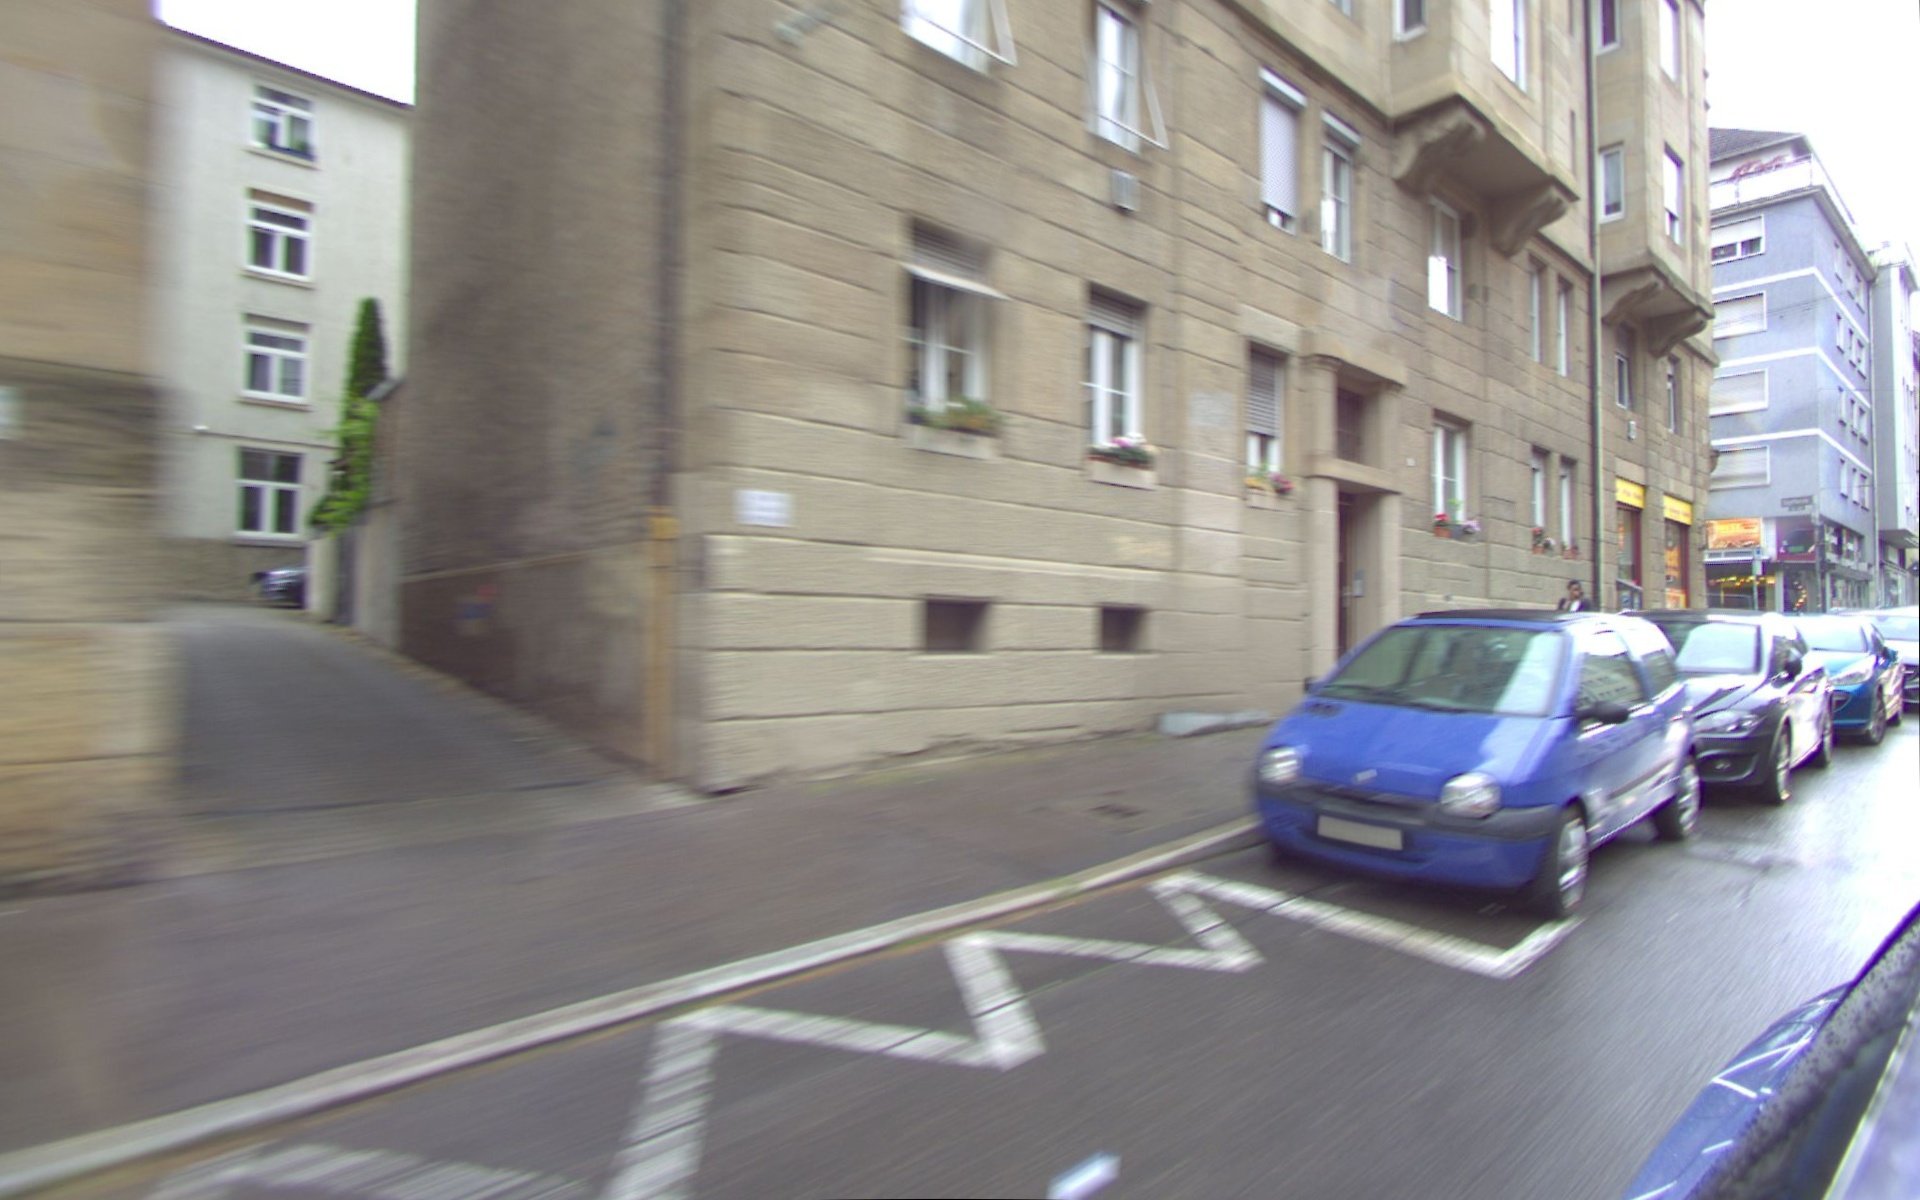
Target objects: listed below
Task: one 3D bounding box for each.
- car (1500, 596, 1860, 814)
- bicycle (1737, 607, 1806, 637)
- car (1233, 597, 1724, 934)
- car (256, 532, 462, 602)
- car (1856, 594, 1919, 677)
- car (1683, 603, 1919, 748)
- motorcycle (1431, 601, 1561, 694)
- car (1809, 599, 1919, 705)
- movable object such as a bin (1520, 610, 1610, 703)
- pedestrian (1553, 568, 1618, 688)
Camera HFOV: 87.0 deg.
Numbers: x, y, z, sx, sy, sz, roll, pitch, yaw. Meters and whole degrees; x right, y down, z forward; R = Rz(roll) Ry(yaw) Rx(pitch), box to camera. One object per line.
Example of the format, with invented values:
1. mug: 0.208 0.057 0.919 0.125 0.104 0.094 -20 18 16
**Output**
1. car: 6.458 0.711 8.905 4.014 1.481 1.790 0 0 -42
2. bicycle: 27.187 0.730 33.927 0.524 0.985 1.752 0 -1 -39
3. car: 3.237 0.705 6.048 3.387 1.433 1.545 0 0 -42
4. car: -13.101 -0.668 22.136 3.711 1.388 1.669 0 -1 -38
5. car: 18.629 0.648 19.400 3.723 1.462 1.674 0 1 -41
6. car: 10.098 0.752 11.996 3.950 1.416 1.709 0 0 -42
7. motorcycle: 7.636 0.622 14.336 2.698 1.214 0.706 0 0 -41
8. car: 14.389 0.709 15.450 4.412 1.404 1.756 0 2 -45
9. movable object such as a bin: 7.660 0.687 12.811 1.104 1.117 0.666 0 -1 -41
10. pedestrian: 8.332 0.359 13.479 0.697 1.555 0.562 0 -1 -41
